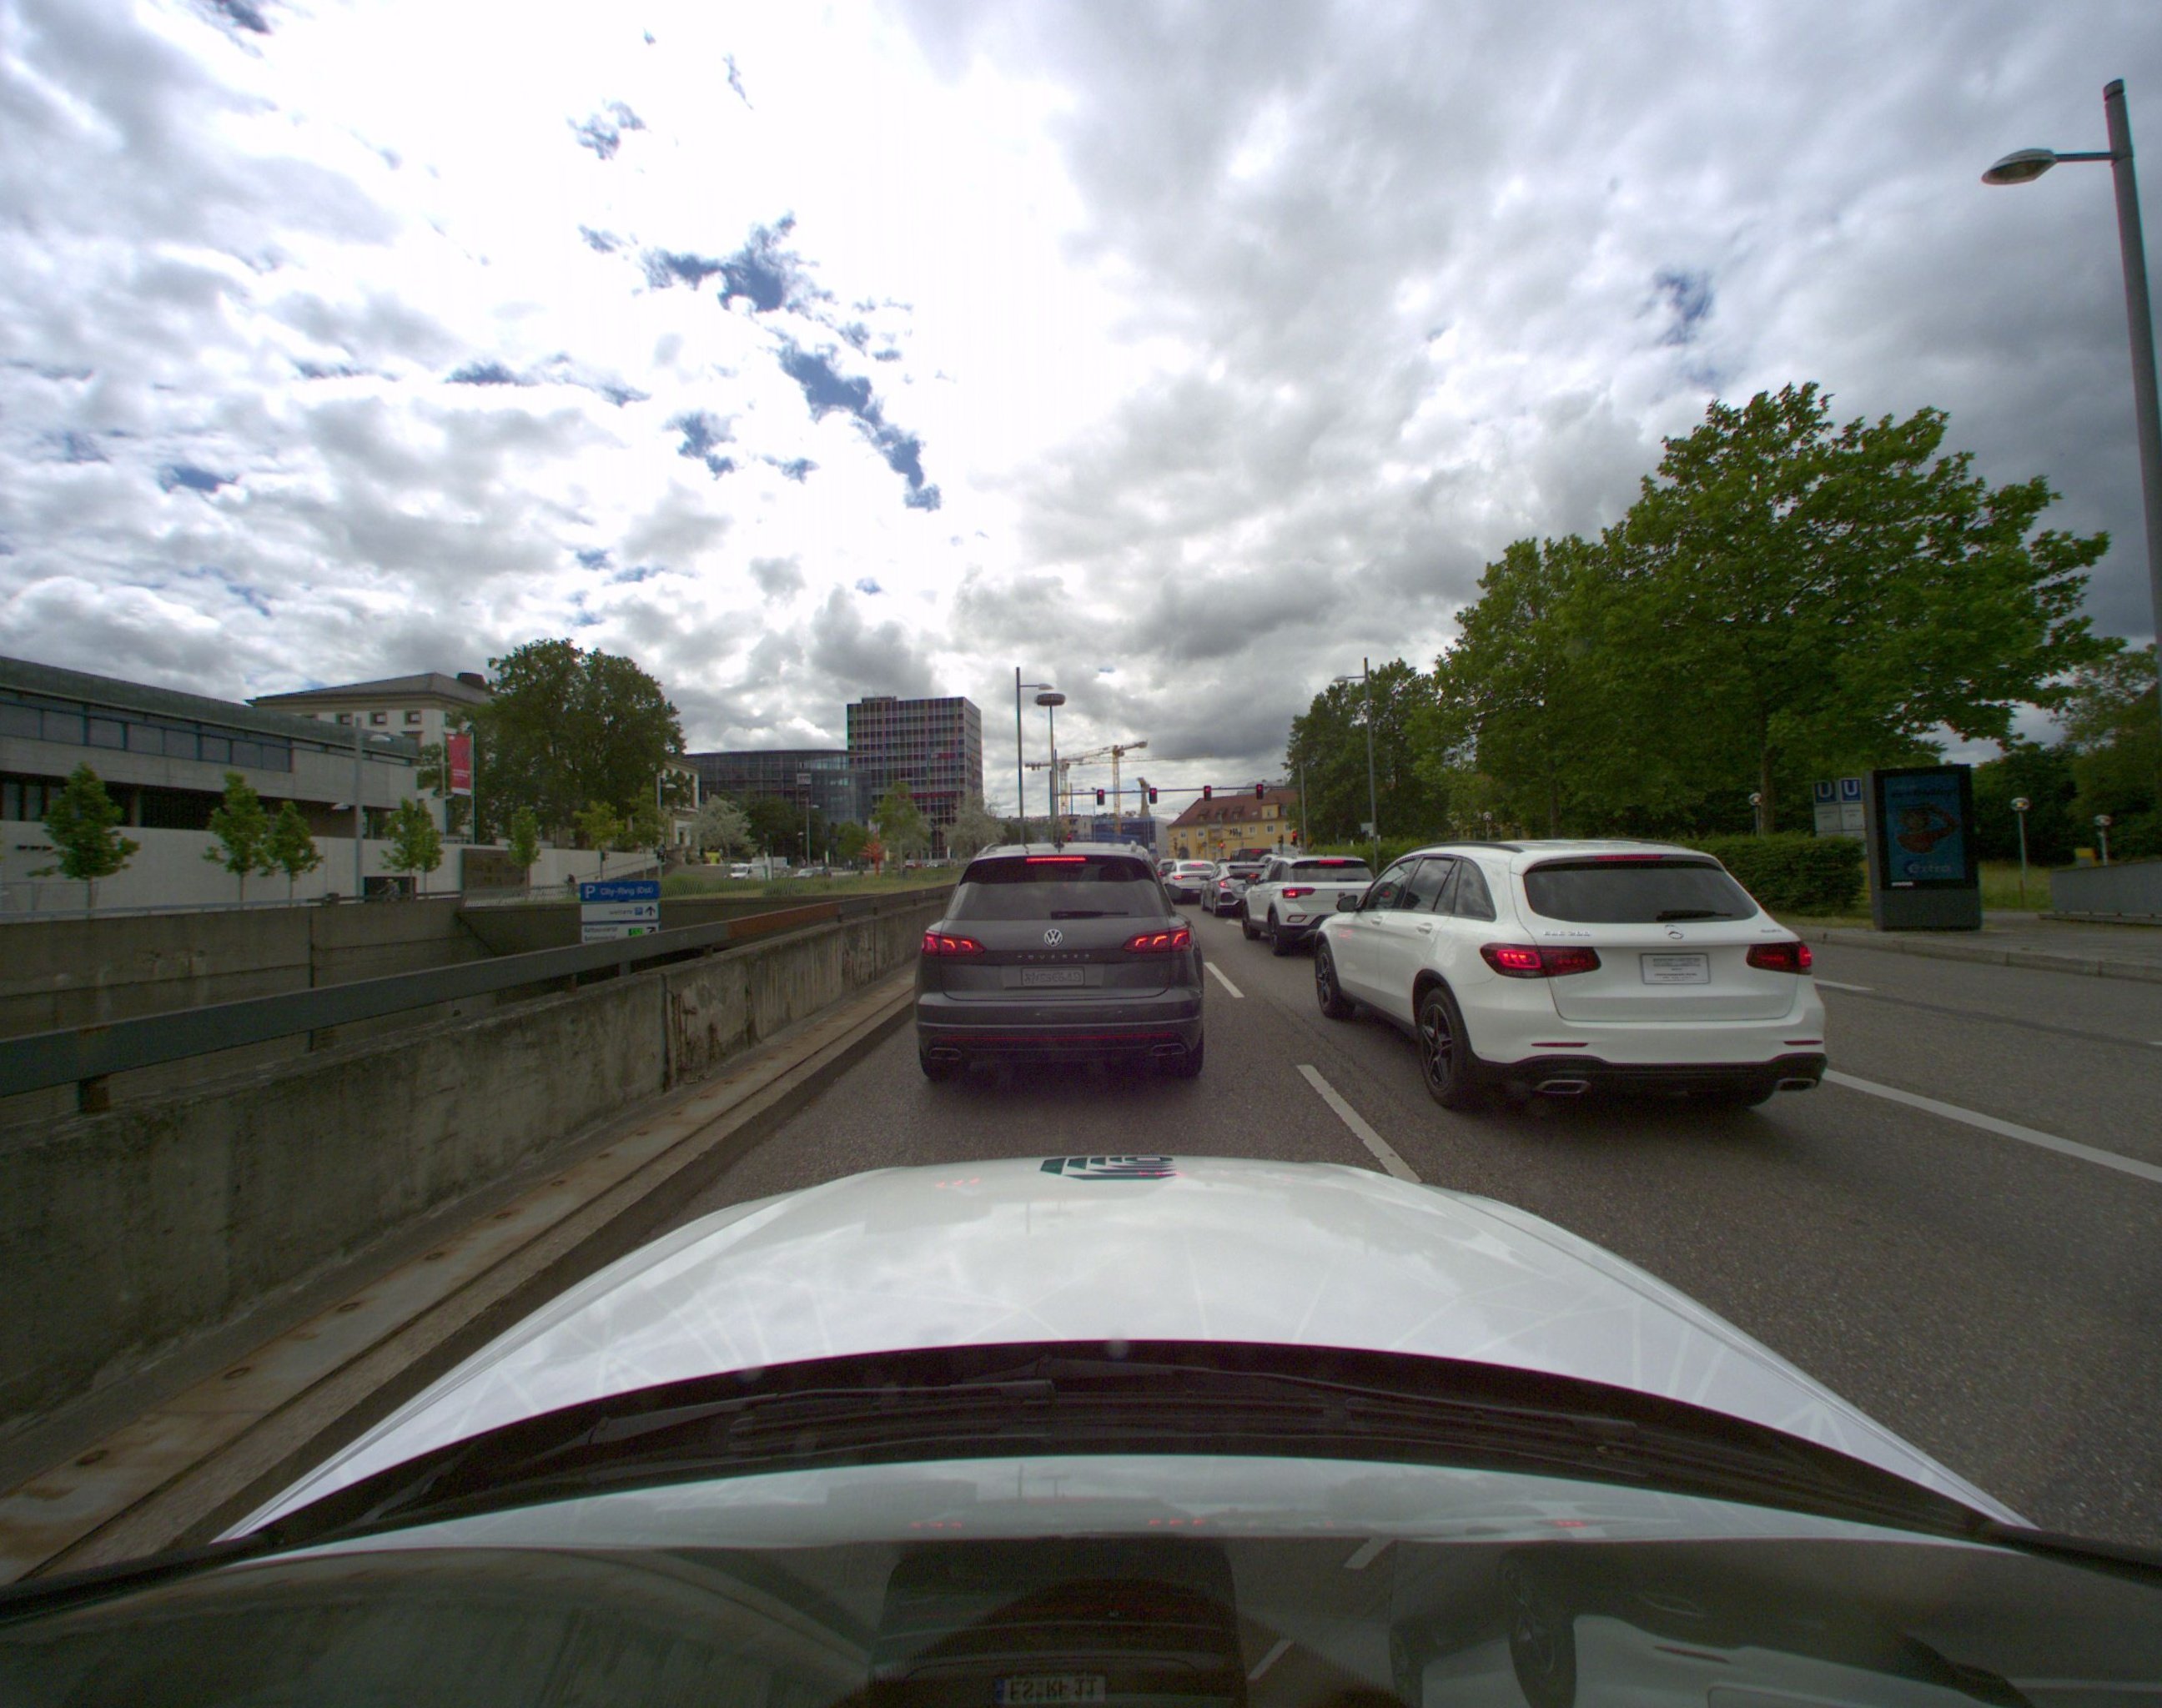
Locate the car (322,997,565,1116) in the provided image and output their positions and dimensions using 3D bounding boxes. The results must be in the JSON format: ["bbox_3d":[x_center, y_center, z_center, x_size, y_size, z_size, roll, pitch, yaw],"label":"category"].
[{"bbox_3d":[-19.263,6.037,25.163,2.610,2.311,5.936,0,-2,2],"label":"car"}]

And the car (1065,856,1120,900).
[{"bbox_3d":[0.477,0.875,31.159,1.944,1.600,3.932,0,0,1],"label":"car"}]

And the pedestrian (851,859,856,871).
[{"bbox_3d":[-41.035,2.002,147.012,0.739,2.013,0.789,-2,1,-14],"label":"pedestrian"}]

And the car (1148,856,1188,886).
[{"bbox_3d":[4.660,0.928,44.071,1.918,1.529,4.050,-1,-1,3],"label":"car"}]

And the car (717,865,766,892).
[{"bbox_3d":[-28.816,2.043,69.297,1.985,2.013,4.695,-2,1,3],"label":"car"}]

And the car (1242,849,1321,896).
[{"bbox_3d":[7.871,0.690,32.350,1.988,1.640,4.303,-1,1,-1],"label":"car"}]

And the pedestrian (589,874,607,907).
[{"bbox_3d":[-30.774,2.319,51.892,0.867,2.013,0.622,-2,1,-36],"label":"pedestrian"}]

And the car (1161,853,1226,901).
[{"bbox_3d":[3.904,0.795,28.972,1.918,1.529,4.493,-1,-1,3],"label":"car"}]

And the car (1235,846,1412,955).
[{"bbox_3d":[3.925,0.708,14.015,1.918,1.551,4.493,-1,-1,3],"label":"car"}]

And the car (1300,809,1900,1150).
[{"bbox_3d":[3.152,0.626,6.263,1.918,1.653,4.493,-1,0,3],"label":"car"}]

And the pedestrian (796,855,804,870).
[{"bbox_3d":[-38.526,1.190,111.586,0.735,2.014,0.793,-2,-3,2],"label":"pedestrian"}]

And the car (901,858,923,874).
[{"bbox_3d":[-24.391,1.716,117.787,1.986,2.013,4.693,-2,1,1],"label":"car"}]

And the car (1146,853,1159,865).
[{"bbox_3d":[9.703,0.715,111.325,1.612,1.627,4.002,0,-2,3],"label":"car"}]

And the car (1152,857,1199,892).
[{"bbox_3d":[4.341,0.938,37.786,1.918,1.529,4.050,-1,-1,3],"label":"car"}]

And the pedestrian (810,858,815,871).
[{"bbox_3d":[-42.324,1.590,128.299,0.741,2.013,0.914,-2,1,-20],"label":"pedestrian"}]

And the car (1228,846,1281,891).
[{"bbox_3d":[8.262,0.686,39.063,1.902,2.014,4.014,0,-1,3],"label":"car"}]

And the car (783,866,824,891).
[{"bbox_3d":[-25.680,2.219,75.523,1.985,2.013,4.695,-2,1,3],"label":"car"}]

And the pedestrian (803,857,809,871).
[{"bbox_3d":[-42.656,1.537,126.410,0.741,2.013,0.914,-2,1,-22],"label":"pedestrian"}]

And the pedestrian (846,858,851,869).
[{"bbox_3d":[-41.811,1.746,146.610,0.739,2.013,0.789,-2,1,-14],"label":"pedestrian"}]

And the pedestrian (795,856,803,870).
[{"bbox_3d":[-40.171,1.261,116.166,0.735,2.013,0.793,-2,1,2],"label":"pedestrian"}]

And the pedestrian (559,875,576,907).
[{"bbox_3d":[-34.180,2.453,54.197,0.731,2.013,0.798,-1,1,44],"label":"pedestrian"}]

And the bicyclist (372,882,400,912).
[{"bbox_3d":[-36.776,2.270,43.109,0.728,1.554,0.776,0,-2,1],"label":"bicyclist"}]

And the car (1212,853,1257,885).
[{"bbox_3d":[8.346,0.822,44.644,1.902,1.697,4.014,0,-1,3],"label":"car"}]

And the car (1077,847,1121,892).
[{"bbox_3d":[0.876,0.712,38.692,1.944,2.018,3.932,0,0,1],"label":"car"}]

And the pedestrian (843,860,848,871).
[{"bbox_3d":[-42.571,2.104,147.354,0.741,2.013,0.787,-2,1,-20],"label":"pedestrian"}]

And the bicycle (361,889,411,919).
[{"bbox_3d":[-36.789,2.632,43.153,0.723,1.536,2.190,0,-2,1],"label":"bicycle"}]

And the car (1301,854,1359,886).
[{"bbox_3d":[12.120,0.808,39.951,1.921,1.460,4.535,0,-1,7],"label":"car"}]

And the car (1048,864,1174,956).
[{"bbox_3d":[0.523,0.881,14.517,1.944,1.384,3.932,0,0,1],"label":"car"}]

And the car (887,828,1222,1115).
[{"bbox_3d":[-0.103,0.705,6.792,1.944,1.651,4.001,-1,0,1],"label":"car"}]

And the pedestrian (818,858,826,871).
[{"bbox_3d":[-41.316,1.636,129.802,0.784,2.013,0.744,-2,1,16],"label":"pedestrian"}]

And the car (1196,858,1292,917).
[{"bbox_3d":[4.315,0.853,22.230,1.918,1.432,4.493,-1,-1,3],"label":"car"}]

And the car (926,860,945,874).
[{"bbox_3d":[-23.762,2.157,133.221,1.986,2.013,4.693,-2,1,1],"label":"car"}]

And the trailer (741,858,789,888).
[{"bbox_3d":[-28.832,1.686,74.431,2.030,2.604,5.511,0,0,2],"label":"trailer"}]
